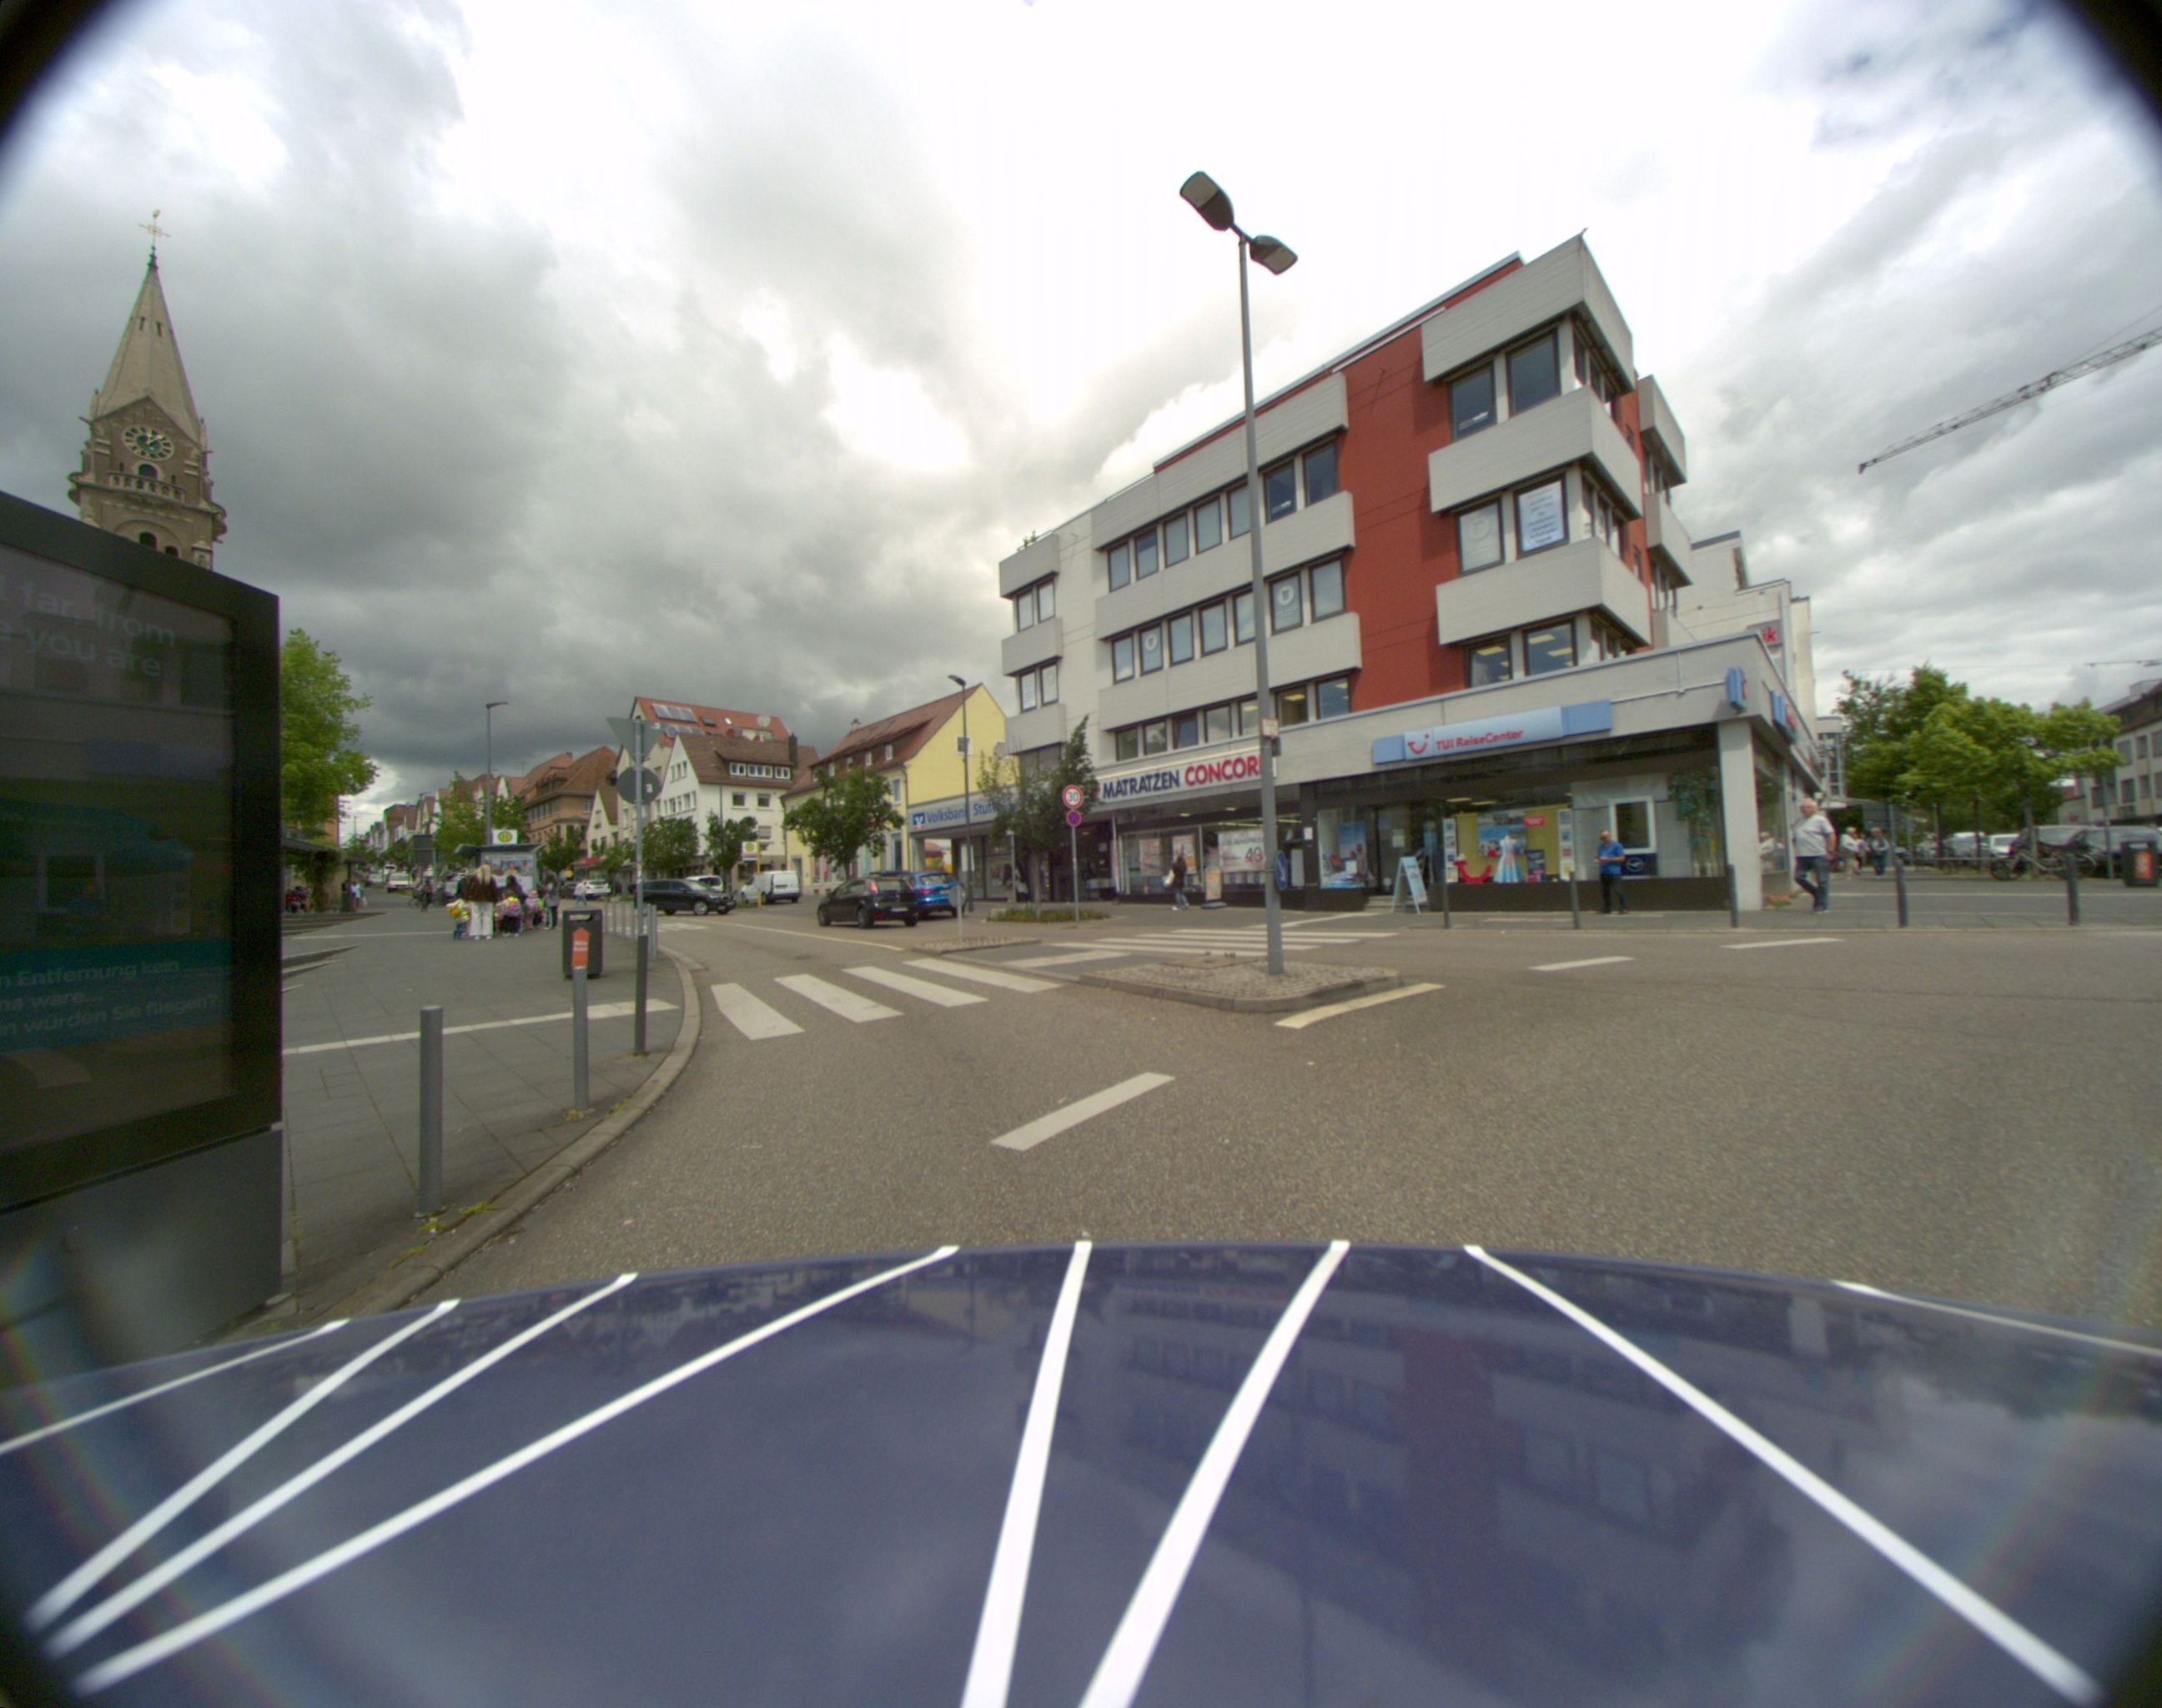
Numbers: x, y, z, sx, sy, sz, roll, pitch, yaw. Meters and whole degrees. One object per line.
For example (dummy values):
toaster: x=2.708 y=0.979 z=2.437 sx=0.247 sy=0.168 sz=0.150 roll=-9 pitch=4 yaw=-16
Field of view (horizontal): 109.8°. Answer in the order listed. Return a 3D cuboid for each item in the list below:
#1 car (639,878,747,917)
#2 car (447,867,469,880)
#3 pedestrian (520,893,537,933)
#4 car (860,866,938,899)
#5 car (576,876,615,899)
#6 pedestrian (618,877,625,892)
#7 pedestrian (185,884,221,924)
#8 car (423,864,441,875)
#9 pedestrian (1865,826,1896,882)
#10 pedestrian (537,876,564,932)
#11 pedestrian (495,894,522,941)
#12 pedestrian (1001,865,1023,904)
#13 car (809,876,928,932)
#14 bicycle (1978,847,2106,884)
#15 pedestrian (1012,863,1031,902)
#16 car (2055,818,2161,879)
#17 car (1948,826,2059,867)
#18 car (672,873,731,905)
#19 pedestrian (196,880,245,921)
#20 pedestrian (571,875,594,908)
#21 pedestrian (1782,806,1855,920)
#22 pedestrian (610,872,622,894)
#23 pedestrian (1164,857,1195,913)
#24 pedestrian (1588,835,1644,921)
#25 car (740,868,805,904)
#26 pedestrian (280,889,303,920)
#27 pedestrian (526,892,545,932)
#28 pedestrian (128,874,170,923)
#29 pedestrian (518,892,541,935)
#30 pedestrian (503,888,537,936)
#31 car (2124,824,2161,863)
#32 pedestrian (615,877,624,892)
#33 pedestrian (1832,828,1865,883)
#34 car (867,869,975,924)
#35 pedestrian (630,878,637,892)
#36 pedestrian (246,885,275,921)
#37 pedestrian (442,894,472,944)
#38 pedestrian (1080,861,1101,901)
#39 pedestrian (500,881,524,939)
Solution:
car: x=-16.865 y=1.889 z=33.119 sx=3.730 sy=1.516 sz=1.896 roll=-1 pitch=2 yaw=8
car: x=-83.358 y=2.622 z=101.650 sx=3.980 sy=1.670 sz=1.737 roll=1 pitch=1 yaw=43
pedestrian: x=-15.885 y=1.690 z=21.845 sx=0.270 sy=1.153 sz=0.265 roll=0 pitch=-2 yaw=11
car: x=-9.605 y=1.502 z=40.297 sx=3.646 sy=1.549 sz=1.664 roll=-2 pitch=0 yaw=-43
car: x=-38.369 y=2.605 z=60.026 sx=1.674 sy=1.637 sz=4.122 roll=-3 pitch=1 yaw=-44
pedestrian: x=-40.916 y=2.718 z=67.687 sx=0.453 sy=1.292 sz=0.423 roll=-1 pitch=1 yaw=43
pedestrian: x=-27.501 y=1.554 z=23.812 sx=0.570 sy=1.220 sz=0.565 roll=-2 pitch=0 yaw=-32
car: x=-96.802 y=2.252 z=113.327 sx=3.518 sy=1.515 sz=1.695 roll=1 pitch=0 yaw=43
pedestrian: x=25.563 y=-0.006 z=24.296 sx=0.538 sy=1.745 sz=0.510 roll=-2 pitch=0 yaw=-24
pedestrian: x=-15.575 y=1.468 z=22.317 sx=0.387 sy=1.609 sz=0.469 roll=0 pitch=-2 yaw=6
pedestrian: x=-14.425 y=1.596 z=19.144 sx=0.477 sy=1.165 sz=0.390 roll=1 pitch=-2 yaw=-32
pedestrian: x=-2.765 y=1.209 z=30.234 sx=0.646 sy=1.557 sz=0.585 roll=1 pitch=-2 yaw=-39
car: x=-6.417 y=1.418 z=22.661 sx=1.707 sy=1.411 sz=4.108 roll=-3 pitch=1 yaw=-42
bicycle: x=25.529 y=0.306 z=20.241 sx=2.060 sy=0.940 sz=0.523 roll=-1 pitch=1 yaw=43
pedestrian: x=-2.399 y=1.139 z=30.842 sx=0.512 sy=1.557 sz=0.585 roll=1 pitch=-2 yaw=-41
car: x=29.034 y=-0.174 z=21.279 sx=4.384 sy=1.571 sz=1.859 roll=-2 pitch=0 yaw=-42
car: x=37.806 y=-0.322 z=31.279 sx=1.859 sy=1.557 sz=4.384 roll=-1 pitch=0 yaw=36
car: x=-21.541 y=1.965 z=43.071 sx=4.339 sy=1.662 sz=1.665 roll=-2 pitch=0 yaw=45
pedestrian: x=-27.967 y=1.491 z=24.693 sx=0.771 sy=1.261 sz=0.676 roll=-2 pitch=0 yaw=-11
pedestrian: x=-25.637 y=1.933 z=39.072 sx=0.686 sy=1.672 sz=0.715 roll=-1 pitch=-1 yaw=10
pedestrian: x=12.545 y=0.152 z=12.947 sx=0.804 sy=1.864 sz=0.682 roll=-2 pitch=0 yaw=41
pedestrian: x=-38.926 y=2.426 z=63.582 sx=0.663 sy=1.751 sz=0.775 roll=-1 pitch=2 yaw=-44
pedestrian: x=2.872 y=0.890 z=22.157 sx=0.590 sy=1.579 sz=0.637 roll=-3 pitch=1 yaw=-45
pedestrian: x=10.194 y=0.450 z=14.502 sx=0.605 sy=1.594 sz=0.569 roll=-3 pitch=0 yaw=5
car: x=-17.341 y=1.770 z=42.616 sx=1.765 sy=1.803 sz=4.464 roll=-3 pitch=1 yaw=-44
pedestrian: x=-32.599 y=2.071 z=31.375 sx=0.571 sy=1.254 sz=0.540 roll=0 pitch=-3 yaw=-37
pedestrian: x=-15.992 y=1.691 z=22.284 sx=0.298 sy=1.145 sz=0.293 roll=0 pitch=-2 yaw=8
pedestrian: x=-25.921 y=1.239 z=21.135 sx=0.570 sy=1.316 sz=0.544 roll=-2 pitch=0 yaw=-32
pedestrian: x=-15.413 y=1.656 z=21.220 sx=0.351 sy=1.159 sz=0.336 roll=1 pitch=-1 yaw=17
pedestrian: x=-15.252 y=1.568 z=20.663 sx=0.598 sy=1.296 sz=0.434 roll=0 pitch=-2 yaw=15
car: x=38.924 y=-0.416 z=26.794 sx=1.678 sy=1.324 sz=3.864 roll=-3 pitch=-1 yaw=41
pedestrian: x=-41.752 y=2.759 z=68.721 sx=0.597 sy=1.260 sz=0.553 roll=0 pitch=1 yaw=43
pedestrian: x=24.682 y=0.047 z=24.444 sx=0.679 sy=1.745 sz=0.512 roll=-2 pitch=0 yaw=42
car: x=-5.518 y=1.386 z=25.799 sx=1.703 sy=1.590 sz=4.320 roll=-4 pitch=1 yaw=-39
pedestrian: x=-40.244 y=2.752 z=68.324 sx=0.565 sy=1.242 sz=0.429 roll=-1 pitch=1 yaw=43
pedestrian: x=-30.307 y=1.798 z=28.061 sx=0.627 sy=1.299 sz=0.545 roll=0 pitch=-2 yaw=-38
pedestrian: x=-15.308 y=1.575 z=18.645 sx=0.391 sy=1.191 sz=0.510 roll=0 pitch=-2 yaw=-16
pedestrian: x=0.401 y=1.194 z=33.235 sx=0.585 sy=1.694 sz=0.646 roll=-4 pitch=-3 yaw=39
pedestrian: x=-14.873 y=1.453 z=19.859 sx=0.389 sy=1.508 sz=0.392 roll=-1 pitch=-2 yaw=36
